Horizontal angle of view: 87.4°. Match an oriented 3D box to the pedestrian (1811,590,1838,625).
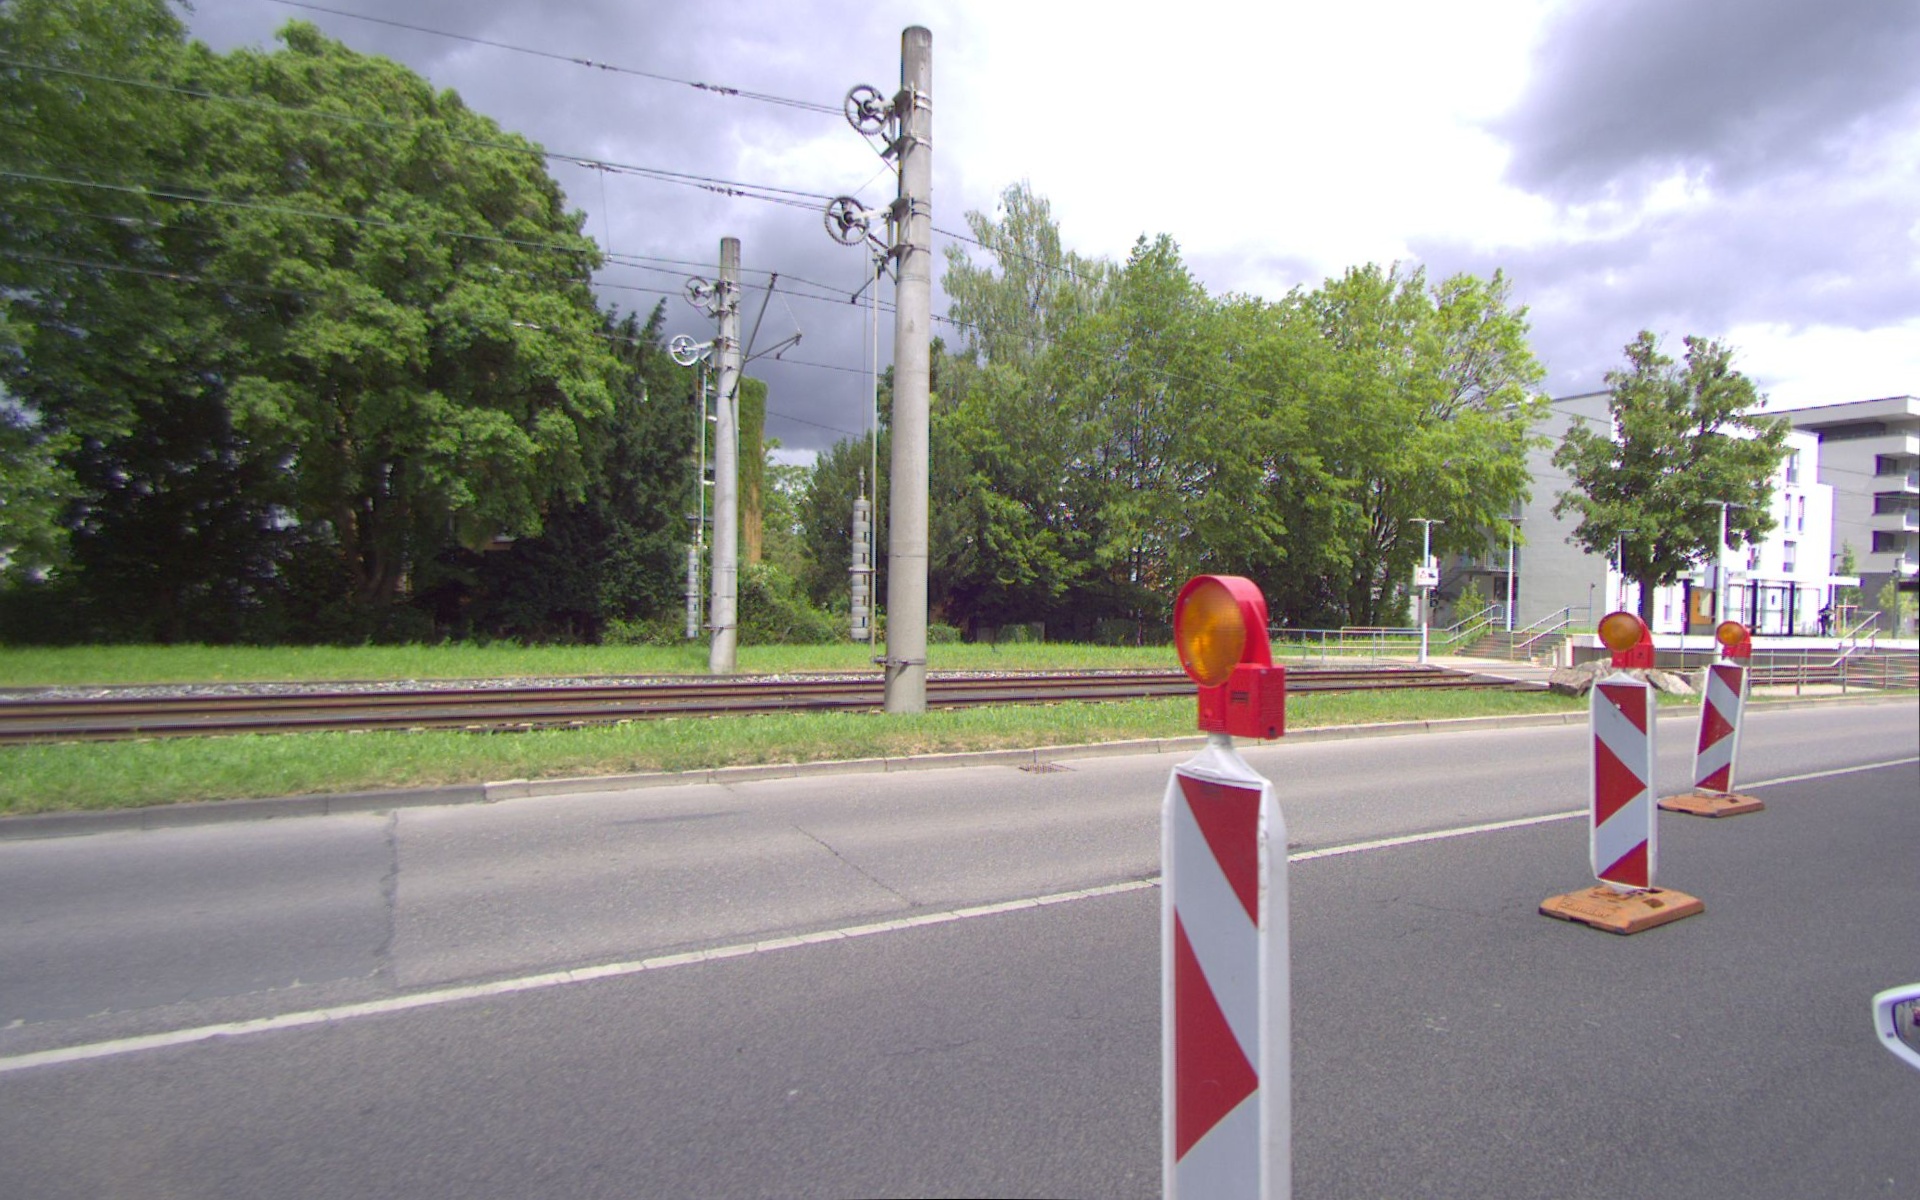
[{"bbox_3d":[39.747,0.337,46.192,0.540,1.551,0.739,1,0,-26],"label":"pedestrian"}]
